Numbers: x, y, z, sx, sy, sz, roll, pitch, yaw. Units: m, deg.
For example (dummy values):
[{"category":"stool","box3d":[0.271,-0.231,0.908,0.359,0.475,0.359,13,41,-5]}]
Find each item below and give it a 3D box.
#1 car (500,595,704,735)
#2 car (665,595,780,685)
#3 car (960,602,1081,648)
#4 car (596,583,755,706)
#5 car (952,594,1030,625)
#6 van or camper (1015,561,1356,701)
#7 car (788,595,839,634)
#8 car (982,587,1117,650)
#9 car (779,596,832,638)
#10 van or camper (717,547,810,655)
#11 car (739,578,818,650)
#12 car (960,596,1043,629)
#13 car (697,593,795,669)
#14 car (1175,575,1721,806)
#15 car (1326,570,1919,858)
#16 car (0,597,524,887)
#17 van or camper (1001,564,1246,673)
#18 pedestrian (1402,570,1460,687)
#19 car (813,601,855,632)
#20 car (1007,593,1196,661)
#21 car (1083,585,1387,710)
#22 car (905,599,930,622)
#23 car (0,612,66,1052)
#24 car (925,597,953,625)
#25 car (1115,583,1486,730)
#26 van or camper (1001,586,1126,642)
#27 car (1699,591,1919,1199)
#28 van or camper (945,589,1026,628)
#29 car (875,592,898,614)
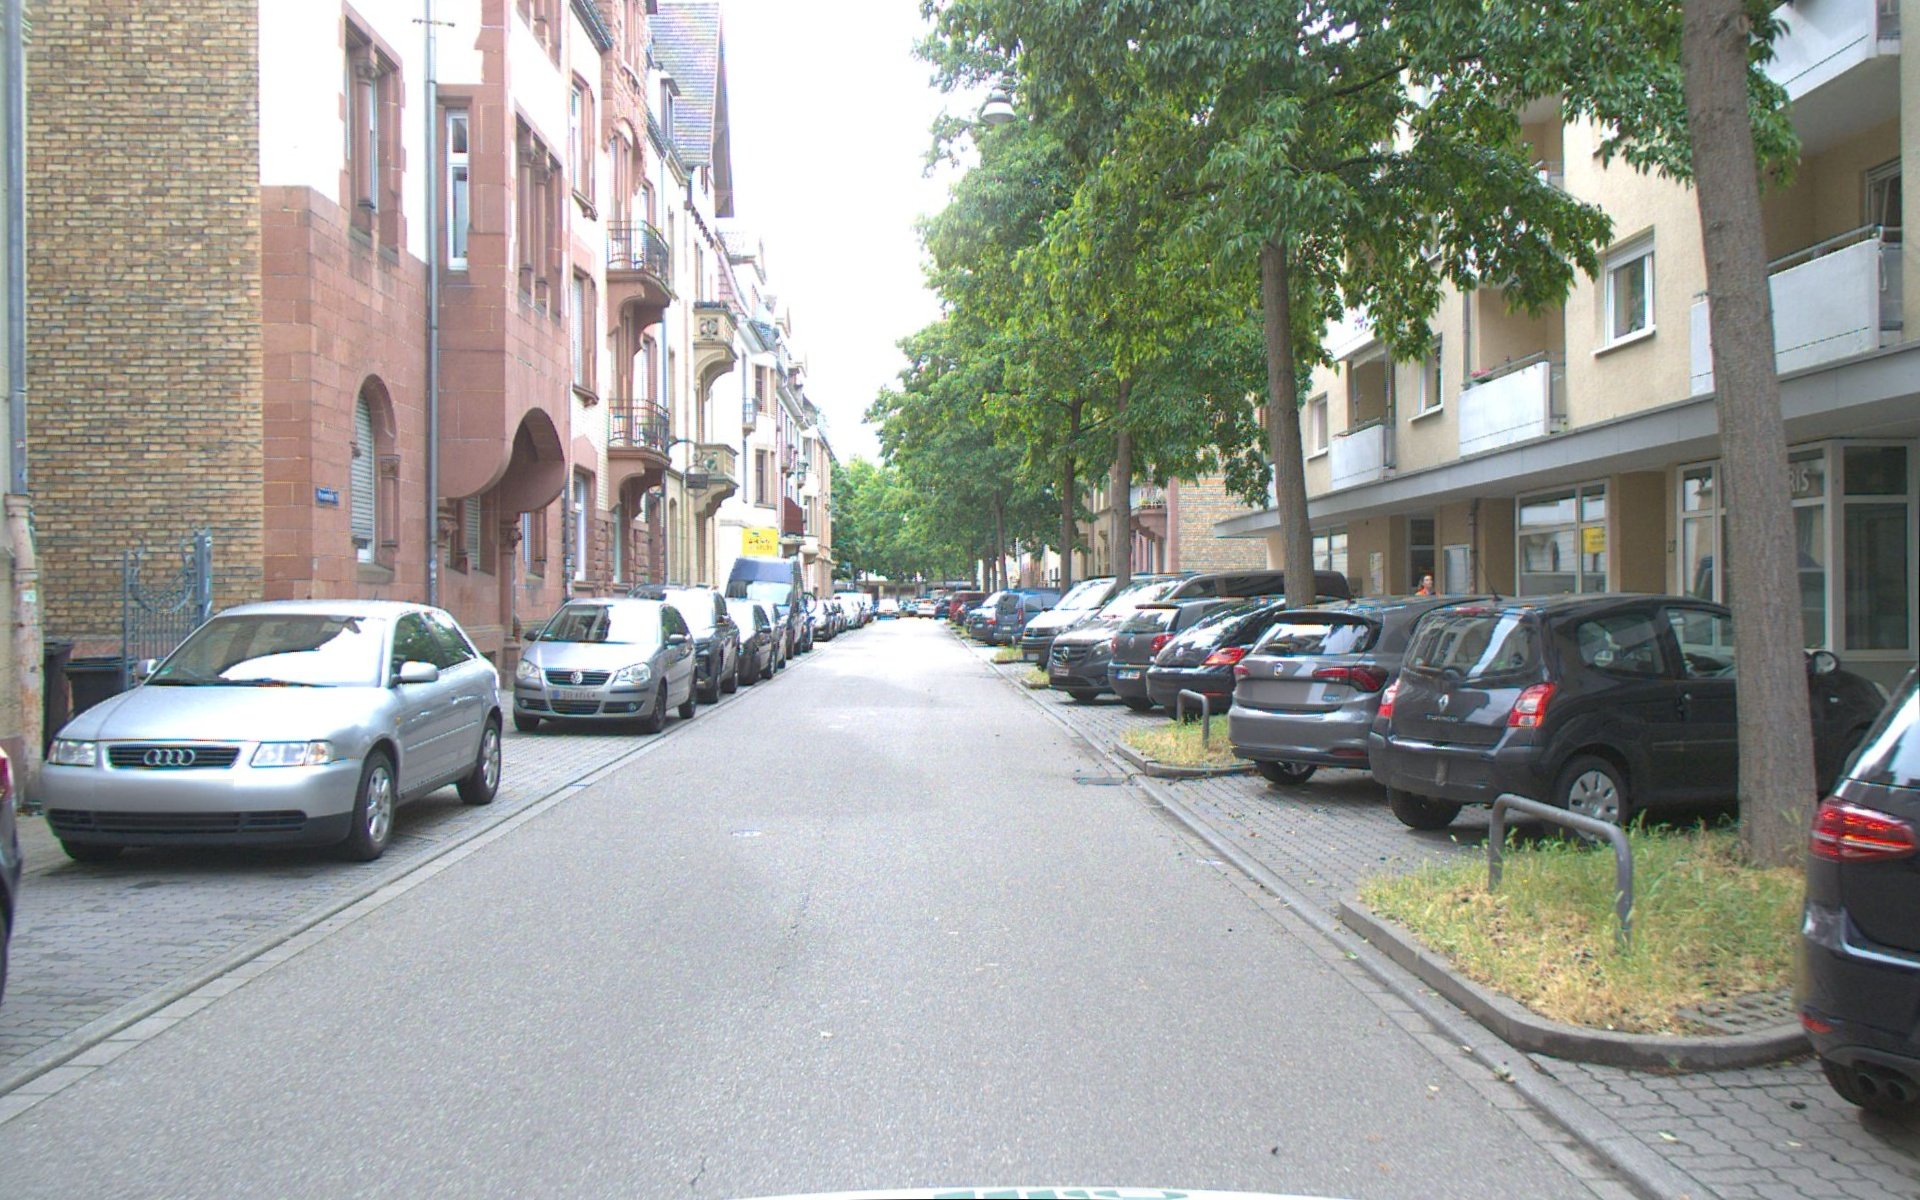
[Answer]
[{"category":"car","box3d":[-4.090,0.688,19.455,1.629,1.445,3.927,1,0,-2]},{"category":"car","box3d":[-4.290,0.684,30.323,1.601,1.499,3.999,1,0,-2]},{"category":"car","box3d":[2.151,0.867,58.542,3.973,1.587,1.863,0,0,-33]},{"category":"car","box3d":[-4.215,0.610,25.132,1.750,1.675,4.360,1,0,-2]},{"category":"car","box3d":[1.551,0.485,82.519,3.689,1.490,1.726,0,0,-7]},{"category":"van or camper","box3d":[3.520,0.429,25.586,4.952,1.902,2.106,-2,0,-30]},{"category":"car","box3d":[-5.902,0.583,66.962,1.792,1.451,3.799,3,0,-2]},{"category":"car","box3d":[3.015,0.620,55.744,4.131,1.902,1.978,-2,-1,-32]},{"category":"car","box3d":[-5.730,0.621,61.727,1.753,1.506,4.020,1,0,-2]},{"category":"van or camper","box3d":[-5.175,0.019,44.223,1.967,2.698,5.314,0,0,-2]},{"category":"car","box3d":[-5.411,0.393,49.911,1.953,2.049,4.889,0,0,-2]},{"category":"car","box3d":[1.934,0.576,77.910,3.689,1.490,1.726,0,0,-7]},{"category":"car","box3d":[-4.473,0.662,35.105,1.634,1.499,3.998,1,-1,-2]},{"category":"car","box3d":[4.047,0.649,13.624,4.168,1.527,1.956,-2,0,-30]},{"category":"car","box3d":[4.300,0.637,10.708,3.316,1.523,1.838,-2,-1,-25]},{"category":"car","box3d":[-4.069,0.707,10.325,1.691,1.411,4.135,1,0,-2]},{"category":"van or camper","box3d":[3.386,0.376,34.194,4.674,2.029,1.982,-2,-2,-28]},{"category":"pedestrian","box3d":[7.356,0.440,25.851,0.611,1.772,0.849,-1,0,-2]},{"category":"car","box3d":[-6.405,0.823,84.564,1.953,1.501,3.999,0,0,-2]},{"category":"car","box3d":[3.439,0.636,39.880,4.262,1.417,1.901,-3,0,-34]},{"category":"car","box3d":[3.786,0.609,22.708,3.811,1.528,1.893,-1,0,-31]},{"category":"car","box3d":[-3.474,0.893,135.592,1.953,1.825,3.999,1,-1,-1]},{"category":"car","box3d":[-3.880,0.725,3.677,1.691,1.411,3.927,1,0,-2]},{"category":"car","box3d":[-1.664,0.844,128.883,1.954,2.049,3.998,3,0,-2]},{"category":"car","box3d":[4.042,0.610,19.587,3.993,1.509,1.930,-1,0,-28]},{"category":"van or camper","box3d":[4.135,0.547,65.818,4.730,2.175,2.032,1,0,-33]},{"category":"car","box3d":[4.126,0.688,4.922,4.071,1.467,1.828,-1,0,-38]},{"category":"van or camper","box3d":[1.428,0.465,91.942,4.103,2.122,1.933,-1,0,-30]},{"category":"car","box3d":[-6.058,0.266,136.406,1.784,1.674,3.751,1,-1,-2]}]
